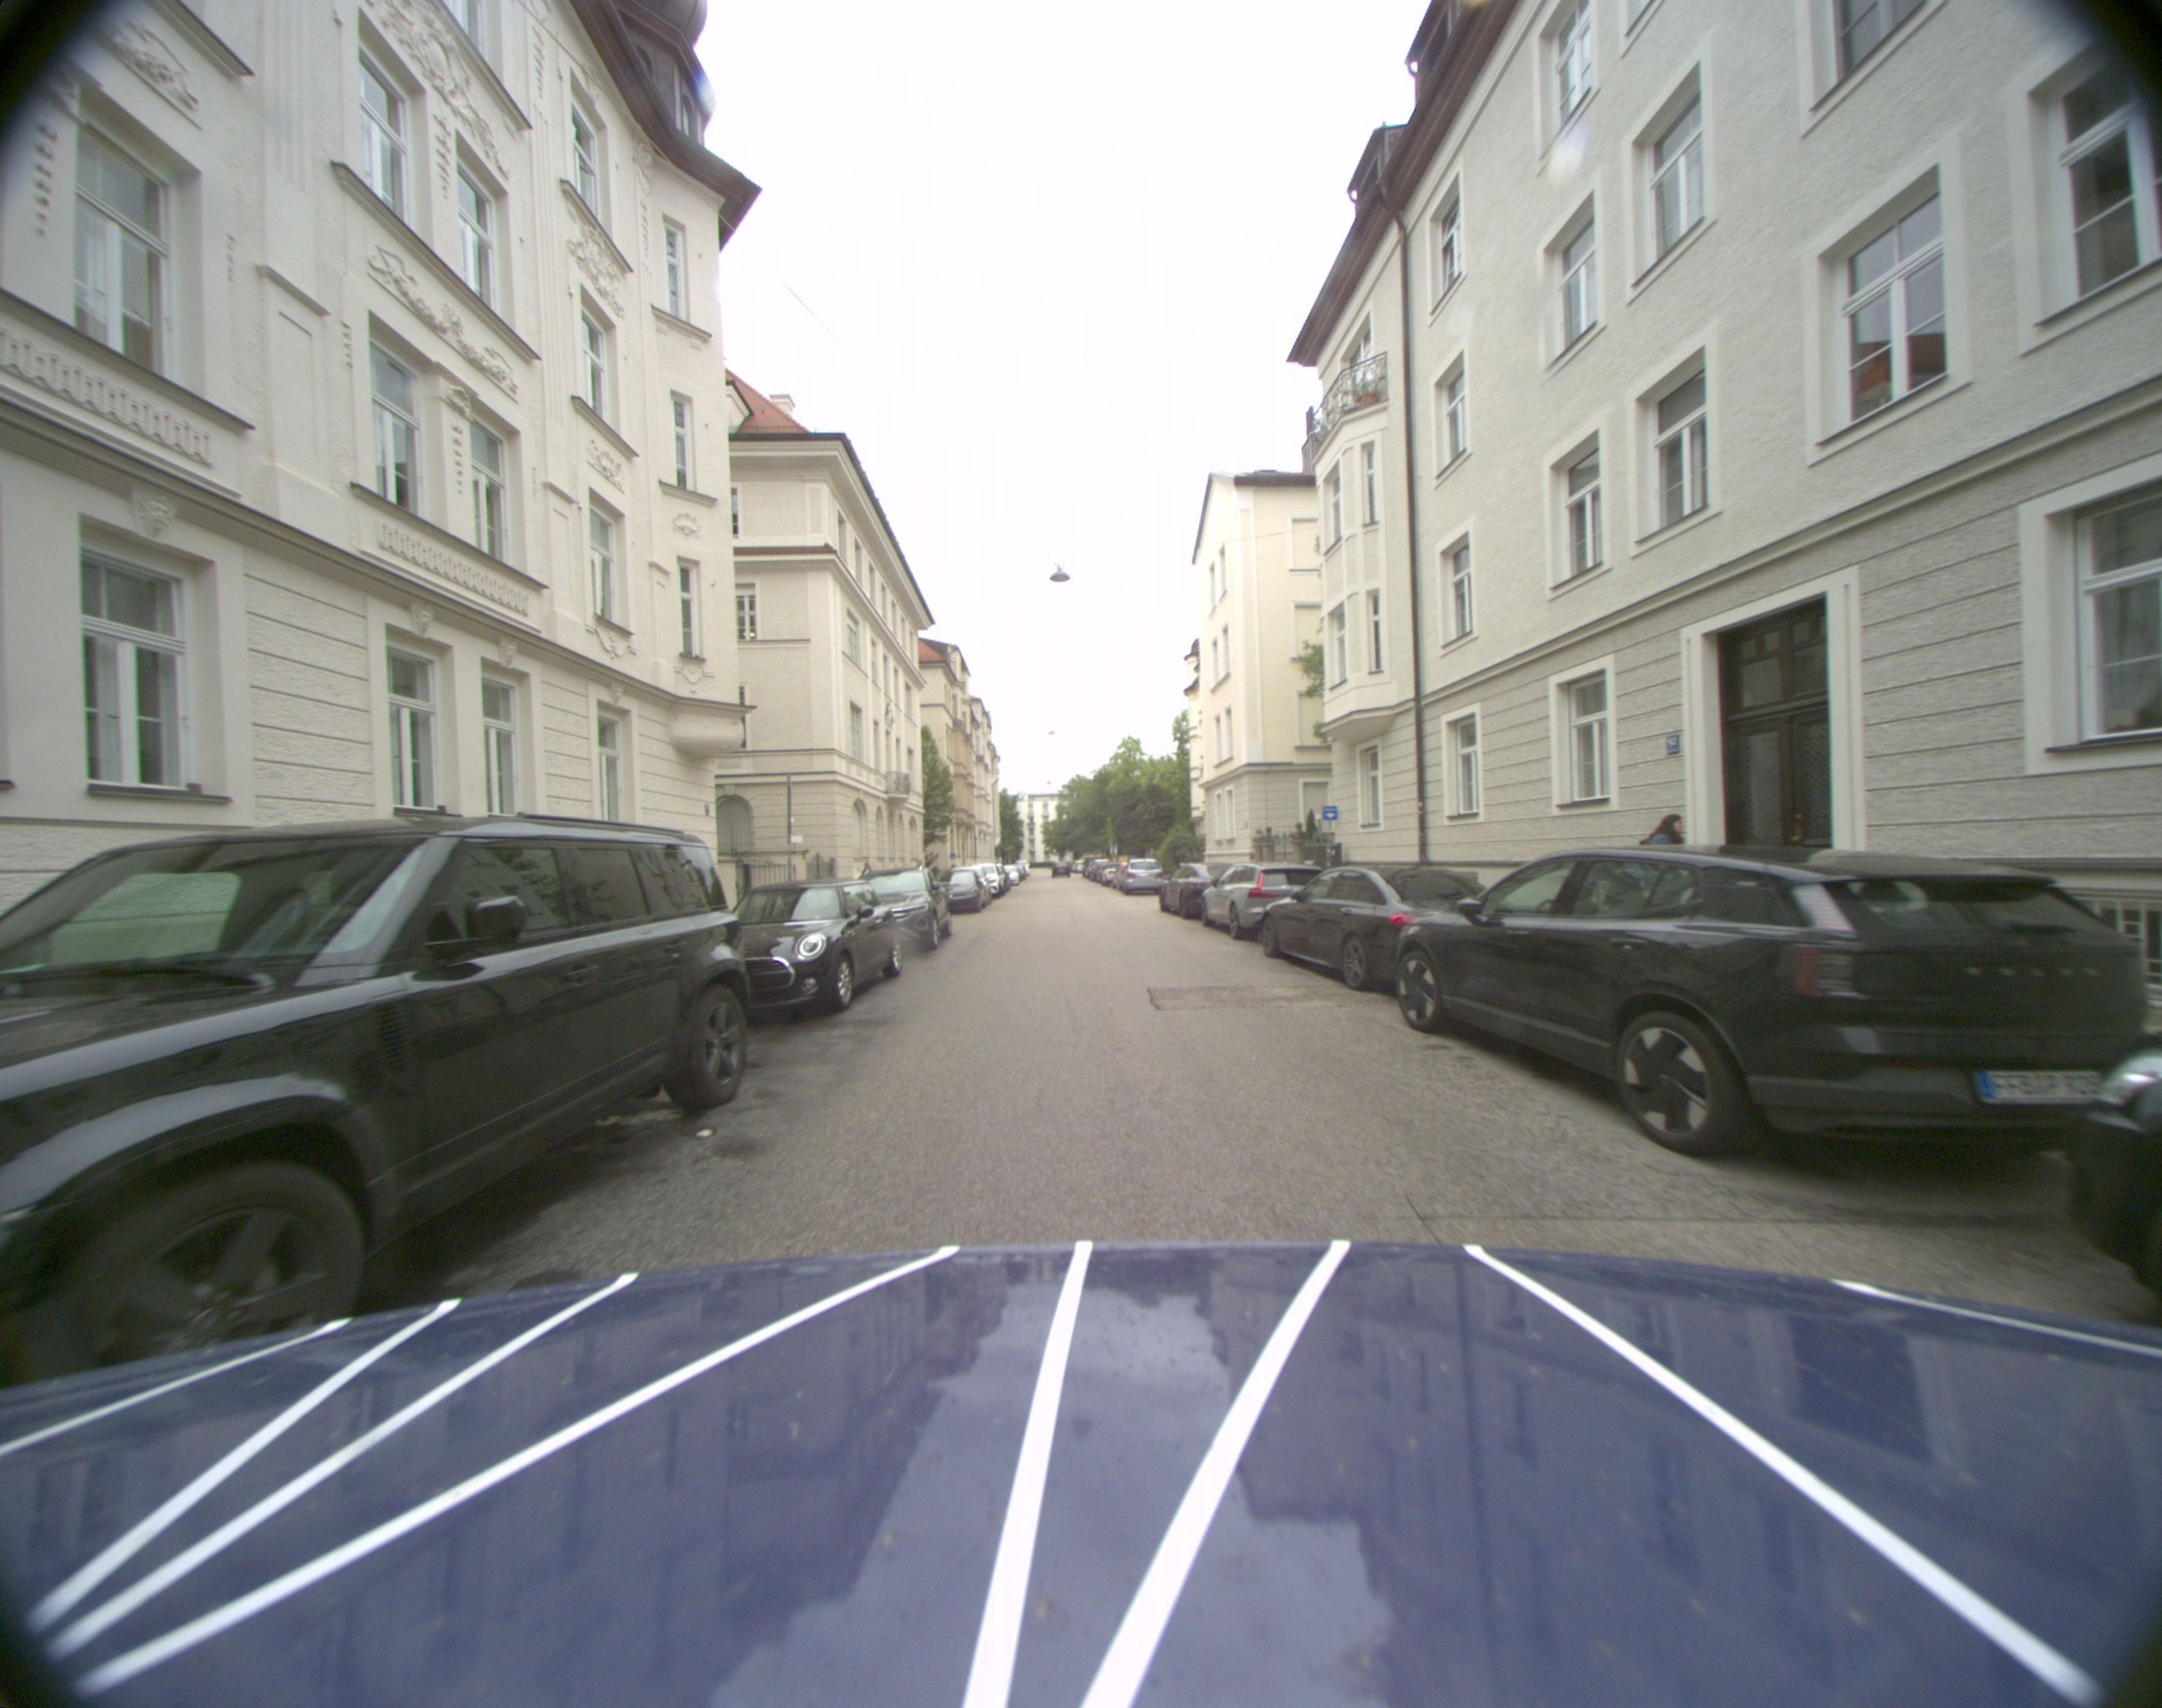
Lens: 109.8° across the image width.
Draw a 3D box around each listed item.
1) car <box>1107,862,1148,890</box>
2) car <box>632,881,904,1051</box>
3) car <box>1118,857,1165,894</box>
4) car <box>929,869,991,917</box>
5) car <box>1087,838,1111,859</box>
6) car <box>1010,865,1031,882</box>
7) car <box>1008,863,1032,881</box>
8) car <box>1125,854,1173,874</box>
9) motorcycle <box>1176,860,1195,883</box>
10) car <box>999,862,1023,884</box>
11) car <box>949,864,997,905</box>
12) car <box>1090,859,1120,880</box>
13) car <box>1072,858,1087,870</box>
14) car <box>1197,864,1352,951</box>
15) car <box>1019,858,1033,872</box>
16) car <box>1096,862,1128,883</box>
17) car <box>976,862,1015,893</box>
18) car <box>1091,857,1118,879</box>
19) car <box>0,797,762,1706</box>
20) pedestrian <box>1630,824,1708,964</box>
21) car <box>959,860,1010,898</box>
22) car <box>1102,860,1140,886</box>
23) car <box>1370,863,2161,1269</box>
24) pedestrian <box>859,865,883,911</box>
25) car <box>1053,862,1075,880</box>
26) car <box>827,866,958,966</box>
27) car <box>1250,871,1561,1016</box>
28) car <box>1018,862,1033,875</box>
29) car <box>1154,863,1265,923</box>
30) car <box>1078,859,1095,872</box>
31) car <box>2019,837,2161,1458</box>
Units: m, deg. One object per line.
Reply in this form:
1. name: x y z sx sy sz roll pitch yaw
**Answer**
1. car: 2.448 1.130 40.637 1.649 1.394 3.998 0 0 -5
2. car: -3.395 1.130 9.030 1.668 1.387 3.581 -4 0 0
3. car: 2.685 0.952 34.629 1.701 1.571 4.061 1 -1 -2
4. car: -4.084 1.279 26.247 1.617 1.387 3.999 -3 0 -3
5. car: 1.685 -0.519 72.236 1.917 1.875 4.815 -1 0 -3
6. car: -5.680 1.819 71.689 1.646 1.409 3.999 -3 0 -2
7. car: -5.312 1.555 66.484 1.746 1.390 4.021 -4 1 -2
8. car: 6.929 1.031 77.784 4.521 1.846 2.053 -2 0 -9
9. motorcycle: 6.182 1.013 44.921 0.706 1.242 1.820 -3 1 -3
10. car: -5.210 1.408 56.859 1.668 1.498 4.063 -2 -1 -5
11. car: -4.431 1.206 31.690 1.713 1.492 3.998 -3 0 -5
12. car: 1.787 1.155 58.002 1.773 1.412 3.998 -1 1 -5
13. car: -0.172 1.310 99.886 1.705 1.551 3.929 -1 0 -4
14. car: 3.668 0.957 15.306 1.799 1.411 4.509 1 0 -2
15. car: -8.093 1.647 111.467 1.794 1.926 4.084 -3 0 -5
16. car: 2.127 1.270 53.145 1.740 1.356 4.191 0 -1 -5
17. car: -4.579 1.215 41.197 1.753 1.516 4.169 -2 0 -2
18. car: 1.930 1.167 63.573 1.811 1.638 4.484 -4 0 -3
19. car: -3.294 0.883 3.218 1.916 1.874 4.713 -4 0 -2
20. pedestrian: 7.444 0.489 9.653 0.663 1.697 0.701 -2 0 31
21. car: -4.497 1.143 36.063 1.900 1.626 4.391 -2 -1 -1
22. car: 2.346 1.112 45.588 1.802 1.426 4.078 -2 0 -3
23. car: 3.679 0.836 5.034 1.746 1.478 4.180 -2 0 -3
24. pedestrian: -7.754 1.249 28.142 0.684 1.669 0.812 0 0 -3
25. car: -1.657 1.613 72.713 1.729 1.525 4.083 -5 1 -4
26. car: -3.519 1.076 14.883 1.712 1.578 3.999 -3 0 -4
27. car: 3.787 0.944 9.885 1.816 1.377 4.441 0 0 -6
28. car: -6.833 1.766 92.598 1.715 1.462 4.084 -3 0 -5
29. car: 3.332 0.966 20.637 1.855 1.359 4.700 -2 0 -4
30. car: 0.667 1.416 95.020 1.705 1.483 3.955 -1 0 -4
31. car: 3.886 0.787 0.251 1.751 1.663 4.274 1 -1 -3
